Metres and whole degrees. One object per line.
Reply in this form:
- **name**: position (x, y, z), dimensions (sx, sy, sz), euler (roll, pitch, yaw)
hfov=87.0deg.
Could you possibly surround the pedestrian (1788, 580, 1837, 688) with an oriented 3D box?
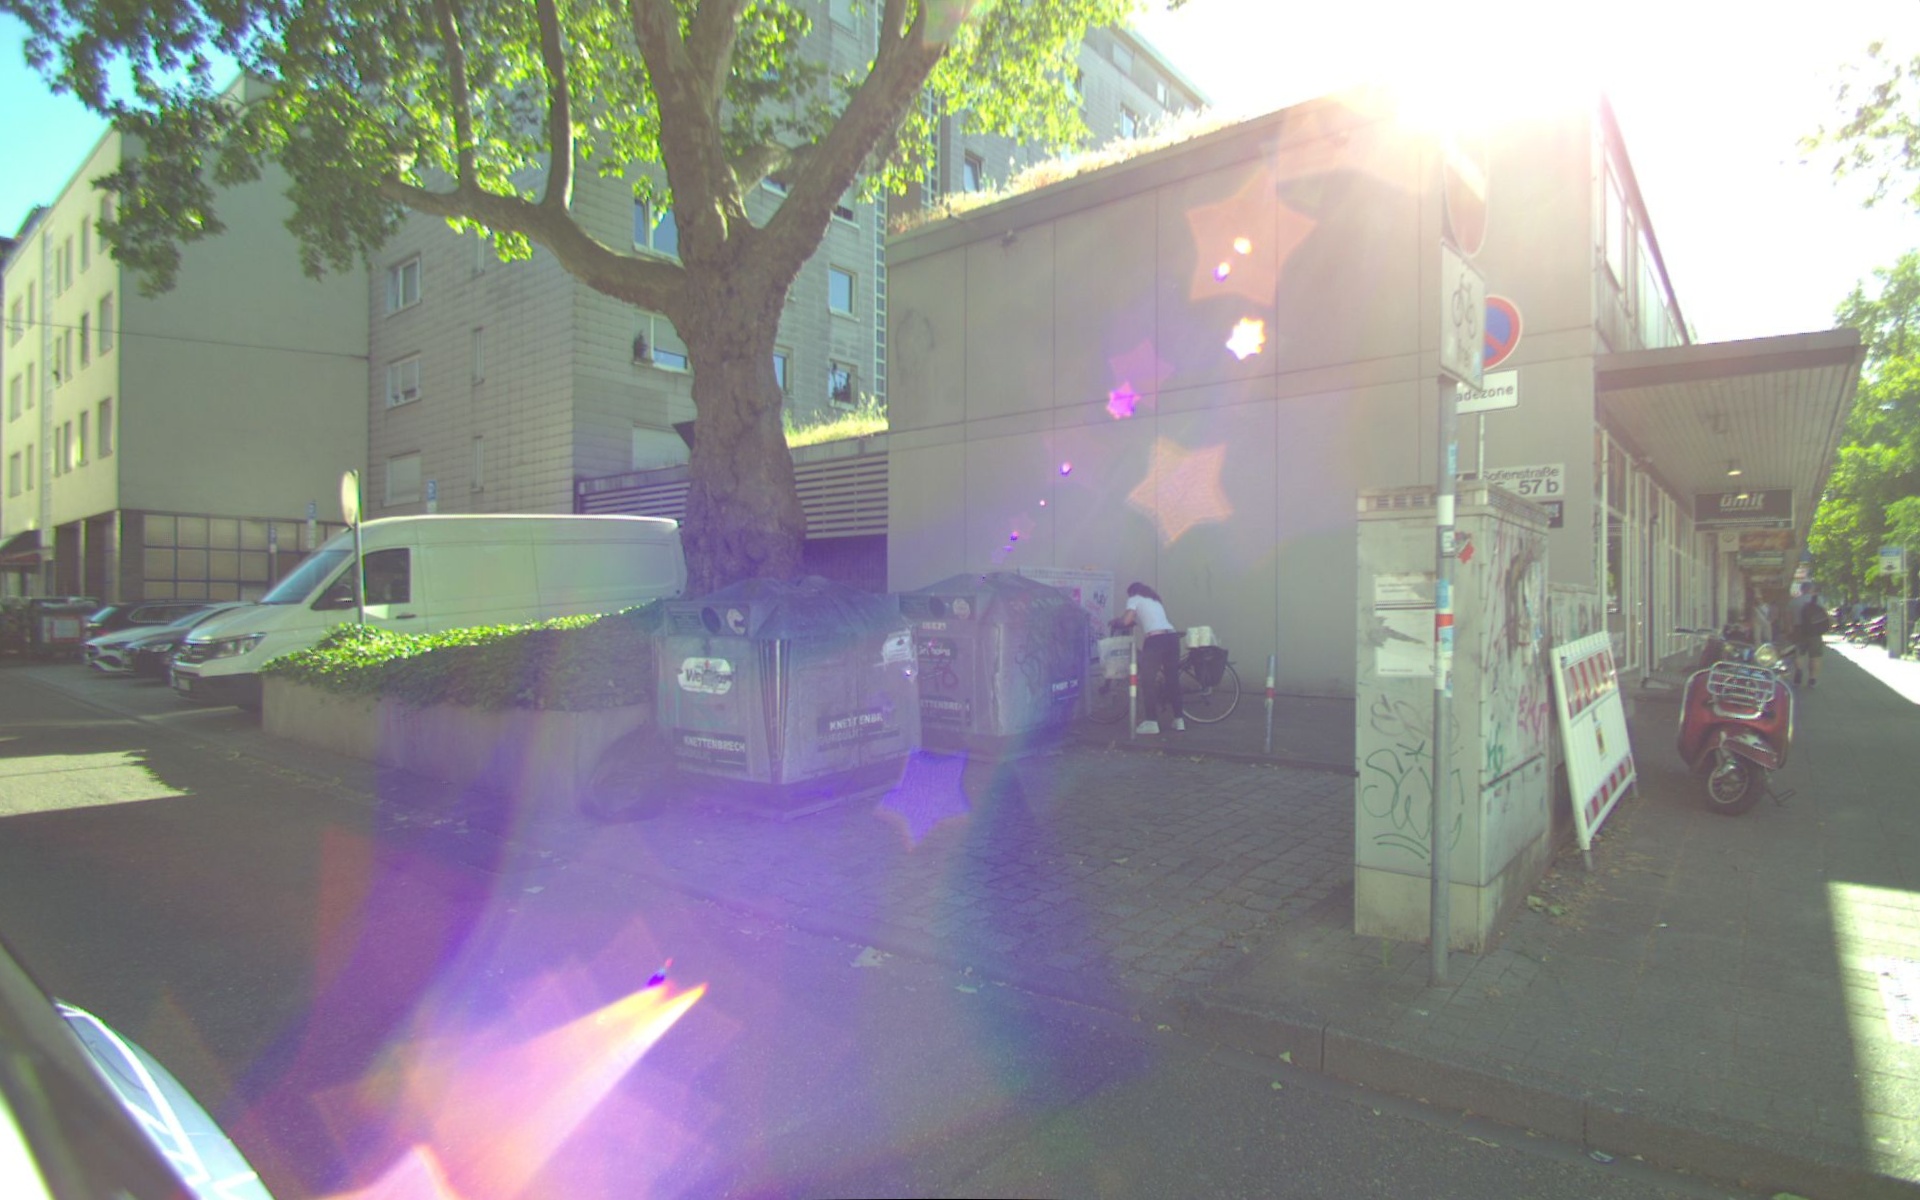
- **pedestrian**: position (13.588, 0.523, 16.131), dimensions (0.566, 1.678, 0.702), euler (1, 0, 41)

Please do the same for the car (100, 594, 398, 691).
- **car**: position (-13.386, 0.732, 19.343), dimensions (1.694, 1.629, 4.368), euler (0, -1, 34)

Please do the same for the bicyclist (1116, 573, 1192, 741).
- **bicyclist**: position (1.918, 0.541, 9.966), dimensions (0.699, 1.596, 0.531), euler (0, -1, 15)

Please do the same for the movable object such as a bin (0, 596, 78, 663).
- **movable object such as a bin**: position (-21.976, 0.682, 24.086), dimensions (1.515, 1.512, 1.207), euler (0, -1, 38)

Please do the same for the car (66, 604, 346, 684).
- **car**: position (-15.376, 0.830, 20.895), dimensions (1.595, 1.474, 4.368), euler (-1, -1, 34)

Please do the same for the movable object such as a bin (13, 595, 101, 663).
- **movable object such as a bin**: position (-20.786, 0.647, 23.310), dimensions (1.193, 1.512, 1.312), euler (0, -1, 38)

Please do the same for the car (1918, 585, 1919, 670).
- **car**: position (21.906, 0.577, 19.662), dimensions (4.637, 1.818, 1.813), euler (0, -1, 39)

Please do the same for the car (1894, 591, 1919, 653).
- **car**: position (33.500, 0.727, 32.373), dimensions (5.224, 1.996, 1.640), euler (0, -1, 39)

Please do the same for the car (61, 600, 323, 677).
- **car**: position (-16.981, 0.800, 22.603), dimensions (1.694, 1.545, 4.368), euler (-1, -1, 34)

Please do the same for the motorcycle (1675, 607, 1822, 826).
- **motorcycle**: position (5.196, 0.665, 6.646), dimensions (0.669, 1.189, 1.896), euler (-1, 1, 40)

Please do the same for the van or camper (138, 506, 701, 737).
- **van or camper**: position (-7.252, 0.094, 14.609), dimensions (1.999, 2.593, 6.836), euler (-1, 2, 40)

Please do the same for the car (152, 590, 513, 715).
- **car**: position (-9.357, 0.673, 15.430), dimensions (1.697, 1.545, 4.361), euler (-1, 1, 39)

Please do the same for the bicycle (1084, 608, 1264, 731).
- **bicycle**: position (2.135, 0.691, 10.268), dimensions (1.698, 1.162, 0.803), euler (-1, 1, 9)

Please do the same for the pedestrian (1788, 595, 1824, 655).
- **pedestrian**: position (22.012, 0.640, 26.344), dimensions (0.689, 1.533, 0.524), euler (1, 0, 42)
